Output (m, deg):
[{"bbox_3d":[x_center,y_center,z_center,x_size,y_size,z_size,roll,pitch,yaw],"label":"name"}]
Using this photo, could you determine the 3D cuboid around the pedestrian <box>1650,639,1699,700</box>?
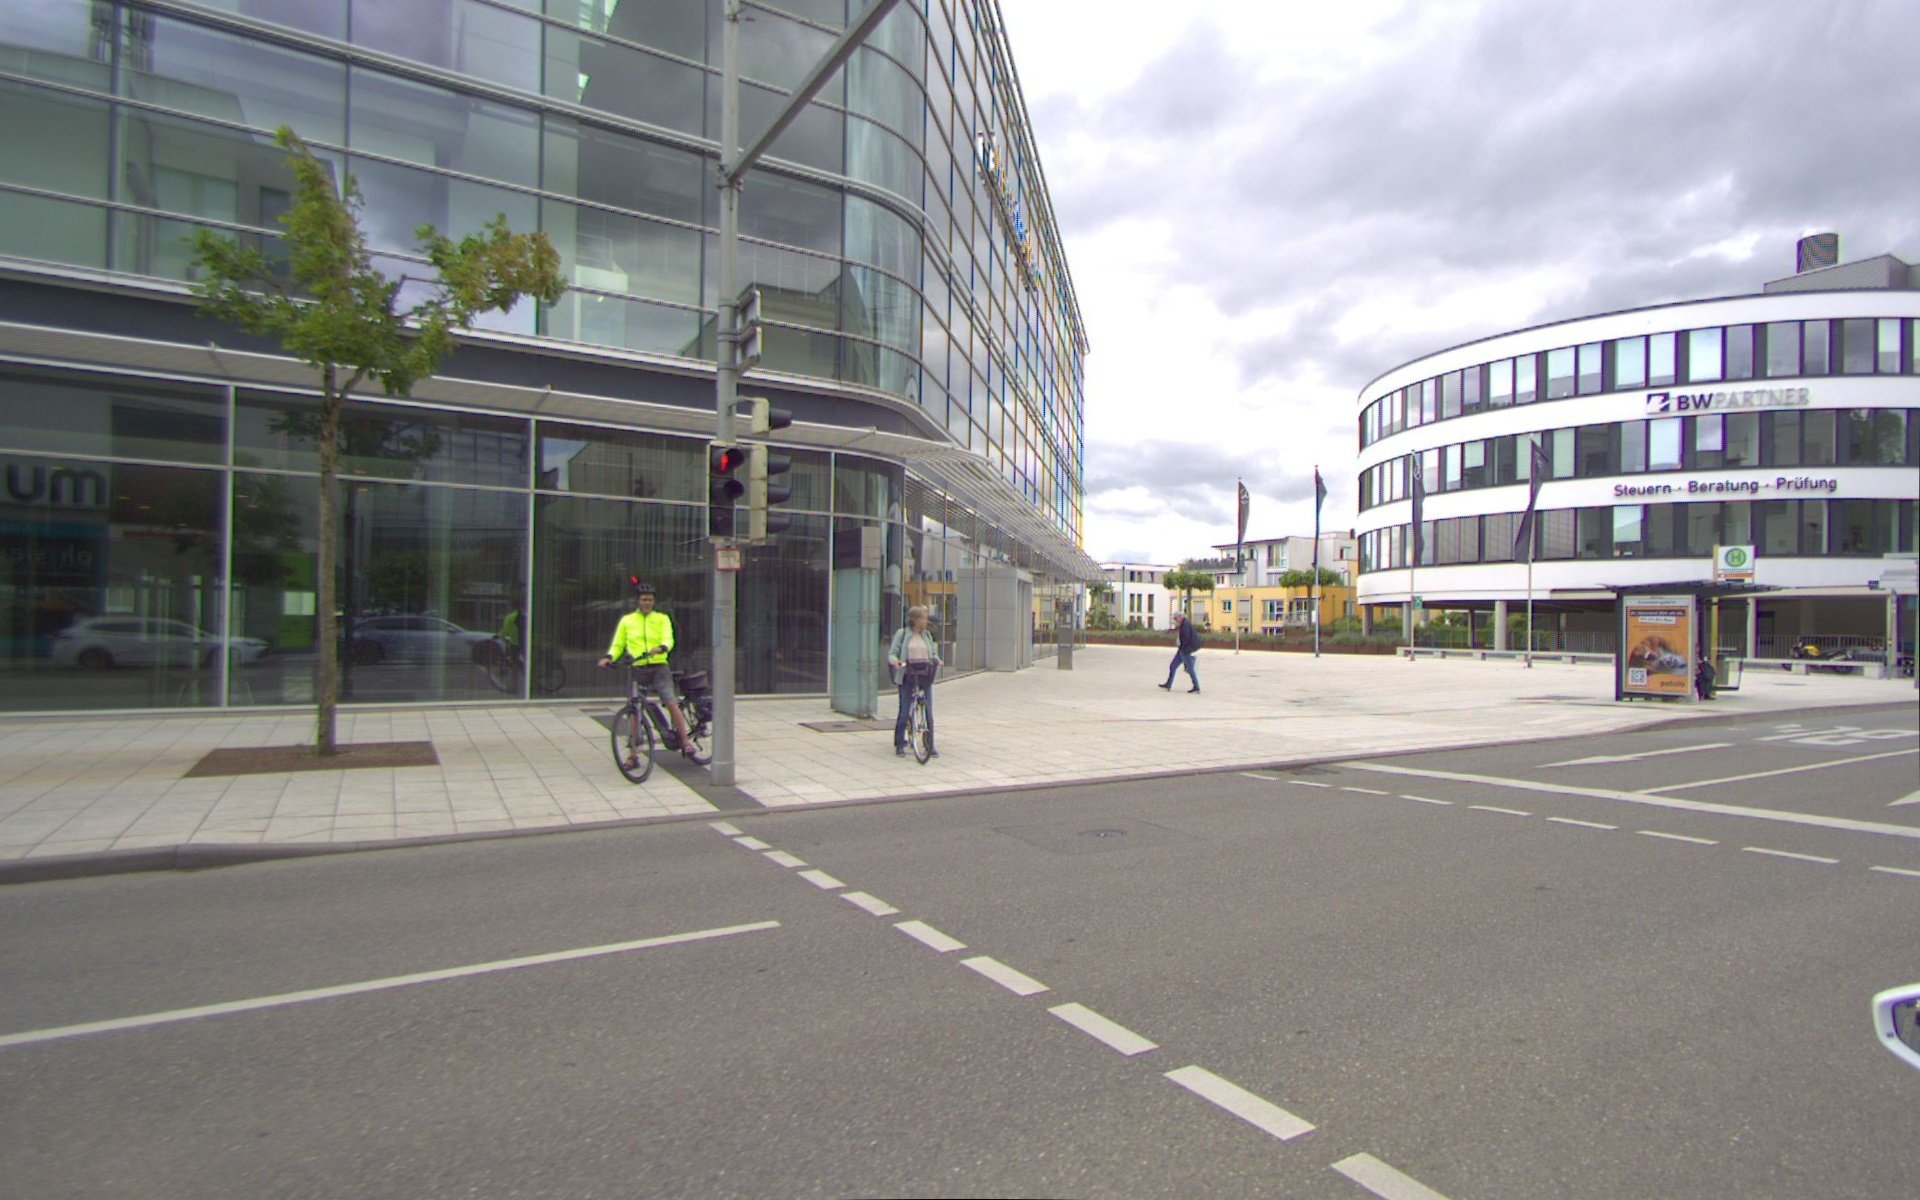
[{"bbox_3d":[15.301,1.473,21.511,0.570,1.270,0.681,1,-2,-32],"label":"pedestrian"}]

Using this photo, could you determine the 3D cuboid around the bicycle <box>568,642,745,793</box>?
[{"bbox_3d":[-2.952,1.095,10.034,0.732,1.222,2.032,2,1,14],"label":"bicycle"}]

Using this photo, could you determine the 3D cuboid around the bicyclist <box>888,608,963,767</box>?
[{"bbox_3d":[-0.394,0.950,11.197,0.628,1.671,0.782,2,1,-15],"label":"bicyclist"}]

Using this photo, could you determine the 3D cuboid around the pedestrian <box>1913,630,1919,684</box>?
[{"bbox_3d":[28.951,1.715,29.737,0.802,1.588,0.827,1,0,-25],"label":"pedestrian"}]

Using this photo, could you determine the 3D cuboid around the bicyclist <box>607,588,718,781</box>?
[{"bbox_3d":[-2.958,0.802,10.032,0.732,1.824,0.774,2,1,14],"label":"bicyclist"}]

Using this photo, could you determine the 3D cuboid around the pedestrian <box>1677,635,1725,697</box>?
[{"bbox_3d":[16.365,1.457,22.184,0.570,1.337,0.681,1,-3,-32],"label":"pedestrian"}]

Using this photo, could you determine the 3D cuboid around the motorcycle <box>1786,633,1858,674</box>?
[{"bbox_3d":[31.183,1.934,36.362,0.628,1.351,1.848,1,1,-26],"label":"motorcycle"}]

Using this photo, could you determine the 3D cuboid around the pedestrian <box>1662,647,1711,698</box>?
[{"bbox_3d":[15.797,1.561,21.839,0.570,1.089,0.681,1,-3,-32],"label":"pedestrian"}]

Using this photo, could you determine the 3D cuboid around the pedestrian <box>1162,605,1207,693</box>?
[{"bbox_3d":[5.195,1.117,23.216,0.885,1.971,0.750,1,0,21],"label":"pedestrian"}]

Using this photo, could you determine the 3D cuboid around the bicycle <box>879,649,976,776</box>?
[{"bbox_3d":[-0.408,1.190,11.202,0.628,1.145,2.000,2,1,-15],"label":"bicycle"}]

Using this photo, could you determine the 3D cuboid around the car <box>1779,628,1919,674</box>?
[{"bbox_3d":[34.318,1.912,38.295,1.876,1.434,4.444,2,0,-24],"label":"car"}]

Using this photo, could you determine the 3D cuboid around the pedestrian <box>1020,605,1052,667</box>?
[{"bbox_3d":[2.470,1.170,32.645,0.745,1.971,0.678,2,0,-43],"label":"pedestrian"}]
